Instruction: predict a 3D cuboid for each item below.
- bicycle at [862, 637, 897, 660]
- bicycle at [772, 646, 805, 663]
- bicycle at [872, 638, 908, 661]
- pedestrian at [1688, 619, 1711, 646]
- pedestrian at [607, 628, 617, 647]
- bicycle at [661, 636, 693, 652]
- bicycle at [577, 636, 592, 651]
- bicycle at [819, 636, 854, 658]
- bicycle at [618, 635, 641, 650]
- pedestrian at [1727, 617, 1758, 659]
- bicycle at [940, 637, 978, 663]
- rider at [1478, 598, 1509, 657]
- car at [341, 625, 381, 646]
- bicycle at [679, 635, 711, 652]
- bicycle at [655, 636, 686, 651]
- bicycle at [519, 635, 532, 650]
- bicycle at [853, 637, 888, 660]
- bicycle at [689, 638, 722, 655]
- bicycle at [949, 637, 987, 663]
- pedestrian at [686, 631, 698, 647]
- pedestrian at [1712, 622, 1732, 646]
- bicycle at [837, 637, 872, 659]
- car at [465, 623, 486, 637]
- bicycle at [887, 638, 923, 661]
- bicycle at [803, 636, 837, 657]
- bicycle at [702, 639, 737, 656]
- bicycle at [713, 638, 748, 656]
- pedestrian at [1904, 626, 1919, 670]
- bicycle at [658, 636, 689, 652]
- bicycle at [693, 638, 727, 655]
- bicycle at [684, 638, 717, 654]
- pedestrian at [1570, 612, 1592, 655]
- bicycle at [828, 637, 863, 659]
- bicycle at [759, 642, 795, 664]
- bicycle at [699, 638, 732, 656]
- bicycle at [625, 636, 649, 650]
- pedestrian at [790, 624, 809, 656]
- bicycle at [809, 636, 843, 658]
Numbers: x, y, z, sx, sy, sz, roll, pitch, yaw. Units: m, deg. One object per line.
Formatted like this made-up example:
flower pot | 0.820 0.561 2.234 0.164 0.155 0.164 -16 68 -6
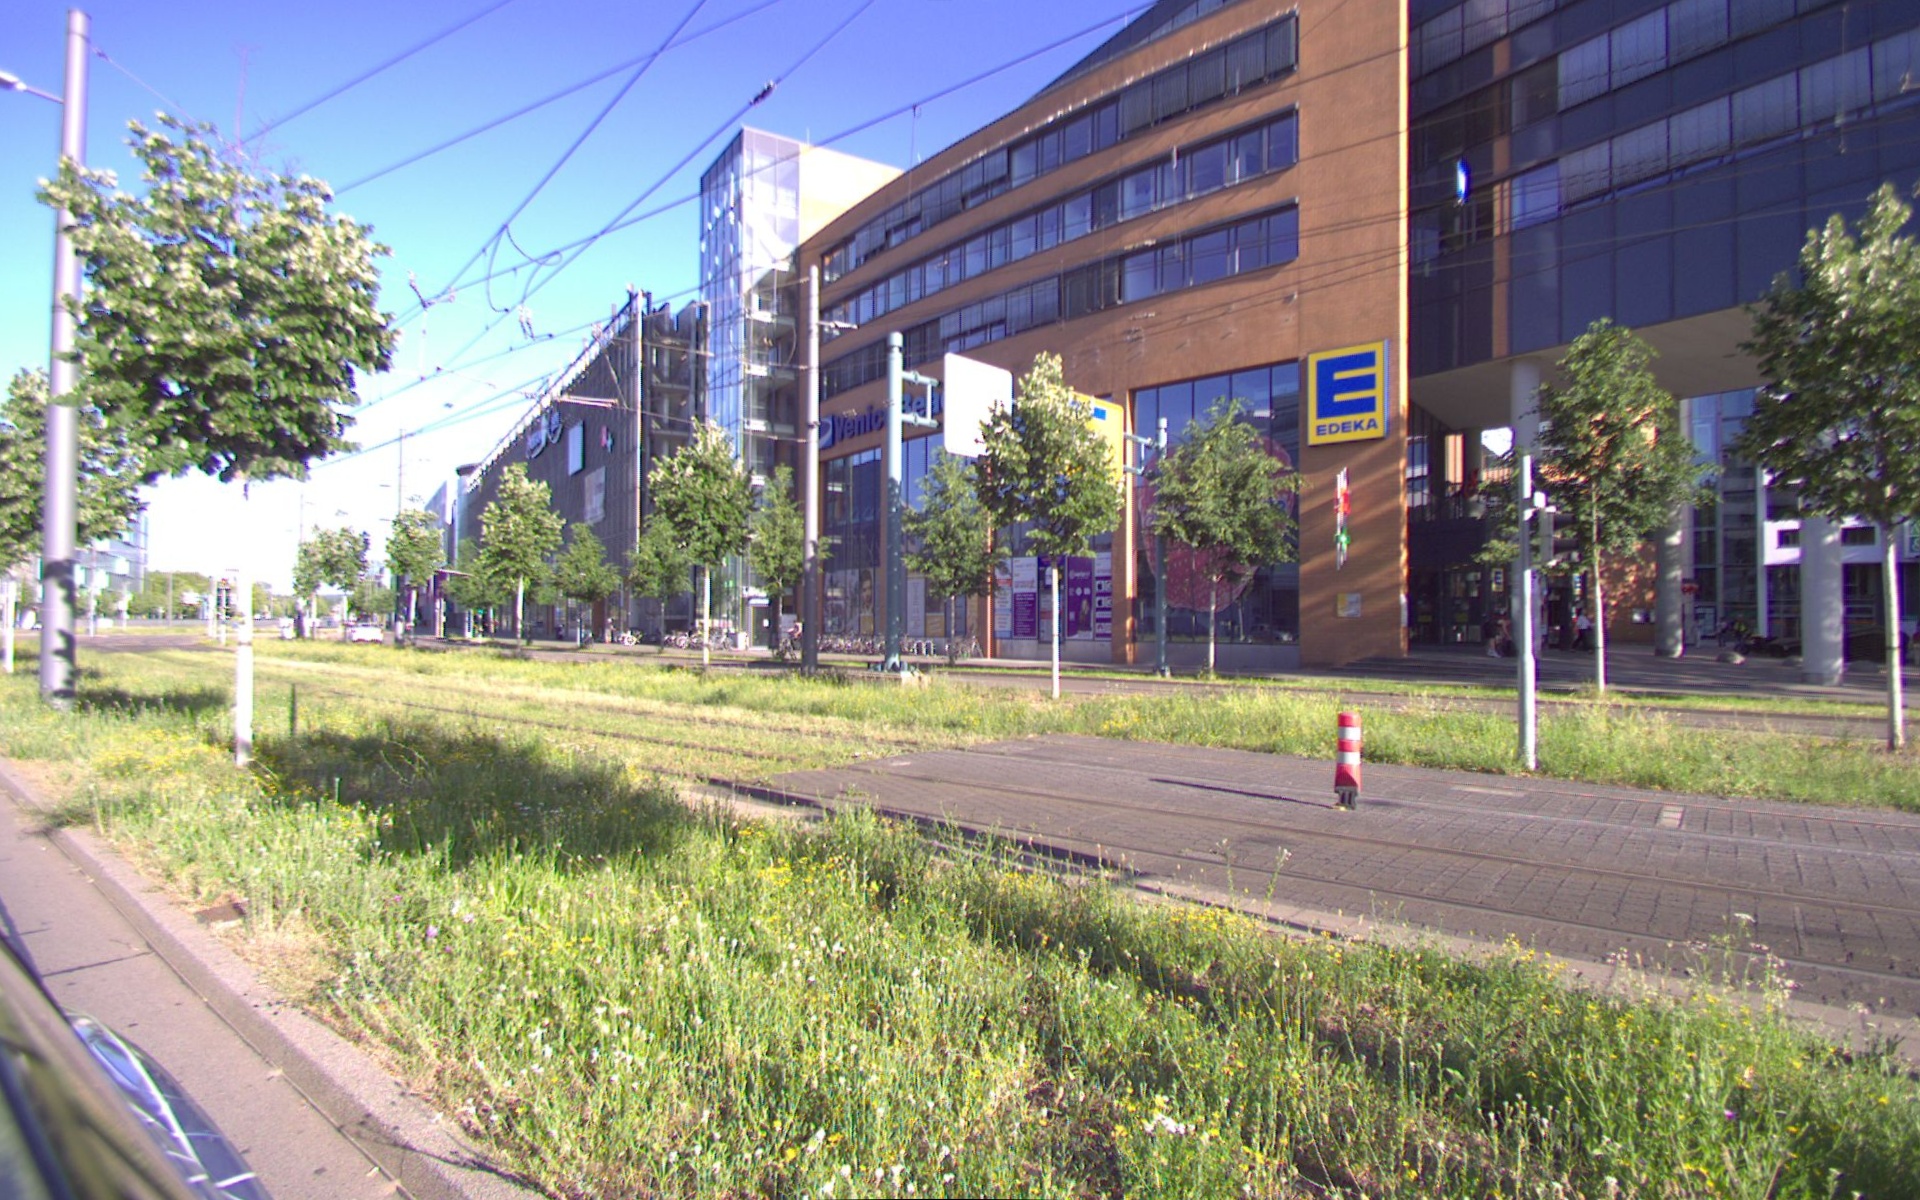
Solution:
bicycle | -3.813 2.314 48.034 1.744 1.057 0.491 1 -2 -42
bicycle | -9.480 3.014 56.024 1.741 0.933 0.566 1 -2 -33
bicycle | -3.285 2.306 47.543 1.744 1.057 0.491 1 -2 -42
pedestrian | 40.640 1.778 55.625 1.038 1.491 0.660 0 0 -32
pedestrian | -24.001 2.569 69.774 0.442 1.299 0.631 1 -2 -36
bicycle | -17.193 2.679 61.479 1.741 0.933 0.566 1 -2 -33
bicycle | -22.719 2.634 61.208 0.380 0.875 1.775 1 -2 -36
bicycle | -6.162 2.354 50.505 1.744 1.057 0.491 1 -2 -42
bicycle | -22.069 2.828 67.652 1.377 0.933 0.463 1 -2 -33
pedestrian | 32.704 1.564 42.301 0.778 1.720 0.810 0 0 -32
bicycle | -0.045 2.150 43.759 1.744 1.057 0.491 1 -2 -42
rider | 16.814 0.857 31.884 0.712 1.816 0.710 -1 -2 42
car | -39.579 2.325 66.822 1.782 1.338 4.415 2 -2 -36
bicycle | -15.559 2.549 59.421 1.741 0.933 0.492 1 -2 -33
bicycle | -17.897 2.683 62.592 1.741 0.933 0.492 1 -2 -33
bicycle | -27.408 2.656 63.830 0.380 0.930 1.775 1 -2 -36
bicycle | -4.288 2.322 48.518 1.744 1.057 0.491 1 -2 -42
bicycle | -14.491 2.629 57.594 1.741 0.933 0.566 1 -2 -33
bicycle | 0.343 2.143 43.333 1.744 1.057 0.491 1 -2 -42
pedestrian | -17.919 2.586 67.604 0.619 1.063 0.450 1 -2 -36
pedestrian | 41.913 1.887 55.679 0.627 1.287 0.664 0 0 -32
bicycle | -5.129 2.337 49.477 1.744 1.057 0.491 1 -2 -42
car | -56.755 3.511 118.495 1.559 1.541 3.759 0 0 -37
bicycle | -2.562 2.296 47.372 1.744 1.057 0.491 1 -2 -42
bicycle | -7.166 2.372 51.730 1.744 1.057 0.491 1 -2 -42
bicycle | -13.241 2.606 55.757 1.741 0.933 0.566 1 -2 -33
bicycle | -12.481 2.543 55.023 1.741 0.933 0.566 1 -2 -33
pedestrian | 38.565 1.916 40.412 0.778 1.720 1.113 0 0 -32
bicycle | -17.567 2.687 62.078 1.741 0.933 0.492 1 -2 -33
bicycle | -14.084 2.622 57.059 1.741 0.933 0.566 1 -2 -33
bicycle | -14.897 2.637 58.191 1.741 0.933 0.566 1 -2 -33
pedestrian | 21.959 1.178 35.783 0.572 1.491 0.447 -1 -1 41
bicycle | -5.632 2.346 49.980 1.744 1.057 0.491 1 -2 -42
bicycle | -7.651 2.208 42.242 1.771 0.875 0.458 -1 -2 42
bicycle | -13.632 2.613 56.423 1.741 0.933 0.566 1 -2 -33
bicycle | -21.199 2.811 66.404 1.377 0.933 0.463 1 -2 -33
pedestrian | -8.490 2.100 53.483 0.736 1.681 0.676 1 -2 -43
bicycle | -6.787 2.366 51.290 1.744 1.057 0.491 1 -2 -42
